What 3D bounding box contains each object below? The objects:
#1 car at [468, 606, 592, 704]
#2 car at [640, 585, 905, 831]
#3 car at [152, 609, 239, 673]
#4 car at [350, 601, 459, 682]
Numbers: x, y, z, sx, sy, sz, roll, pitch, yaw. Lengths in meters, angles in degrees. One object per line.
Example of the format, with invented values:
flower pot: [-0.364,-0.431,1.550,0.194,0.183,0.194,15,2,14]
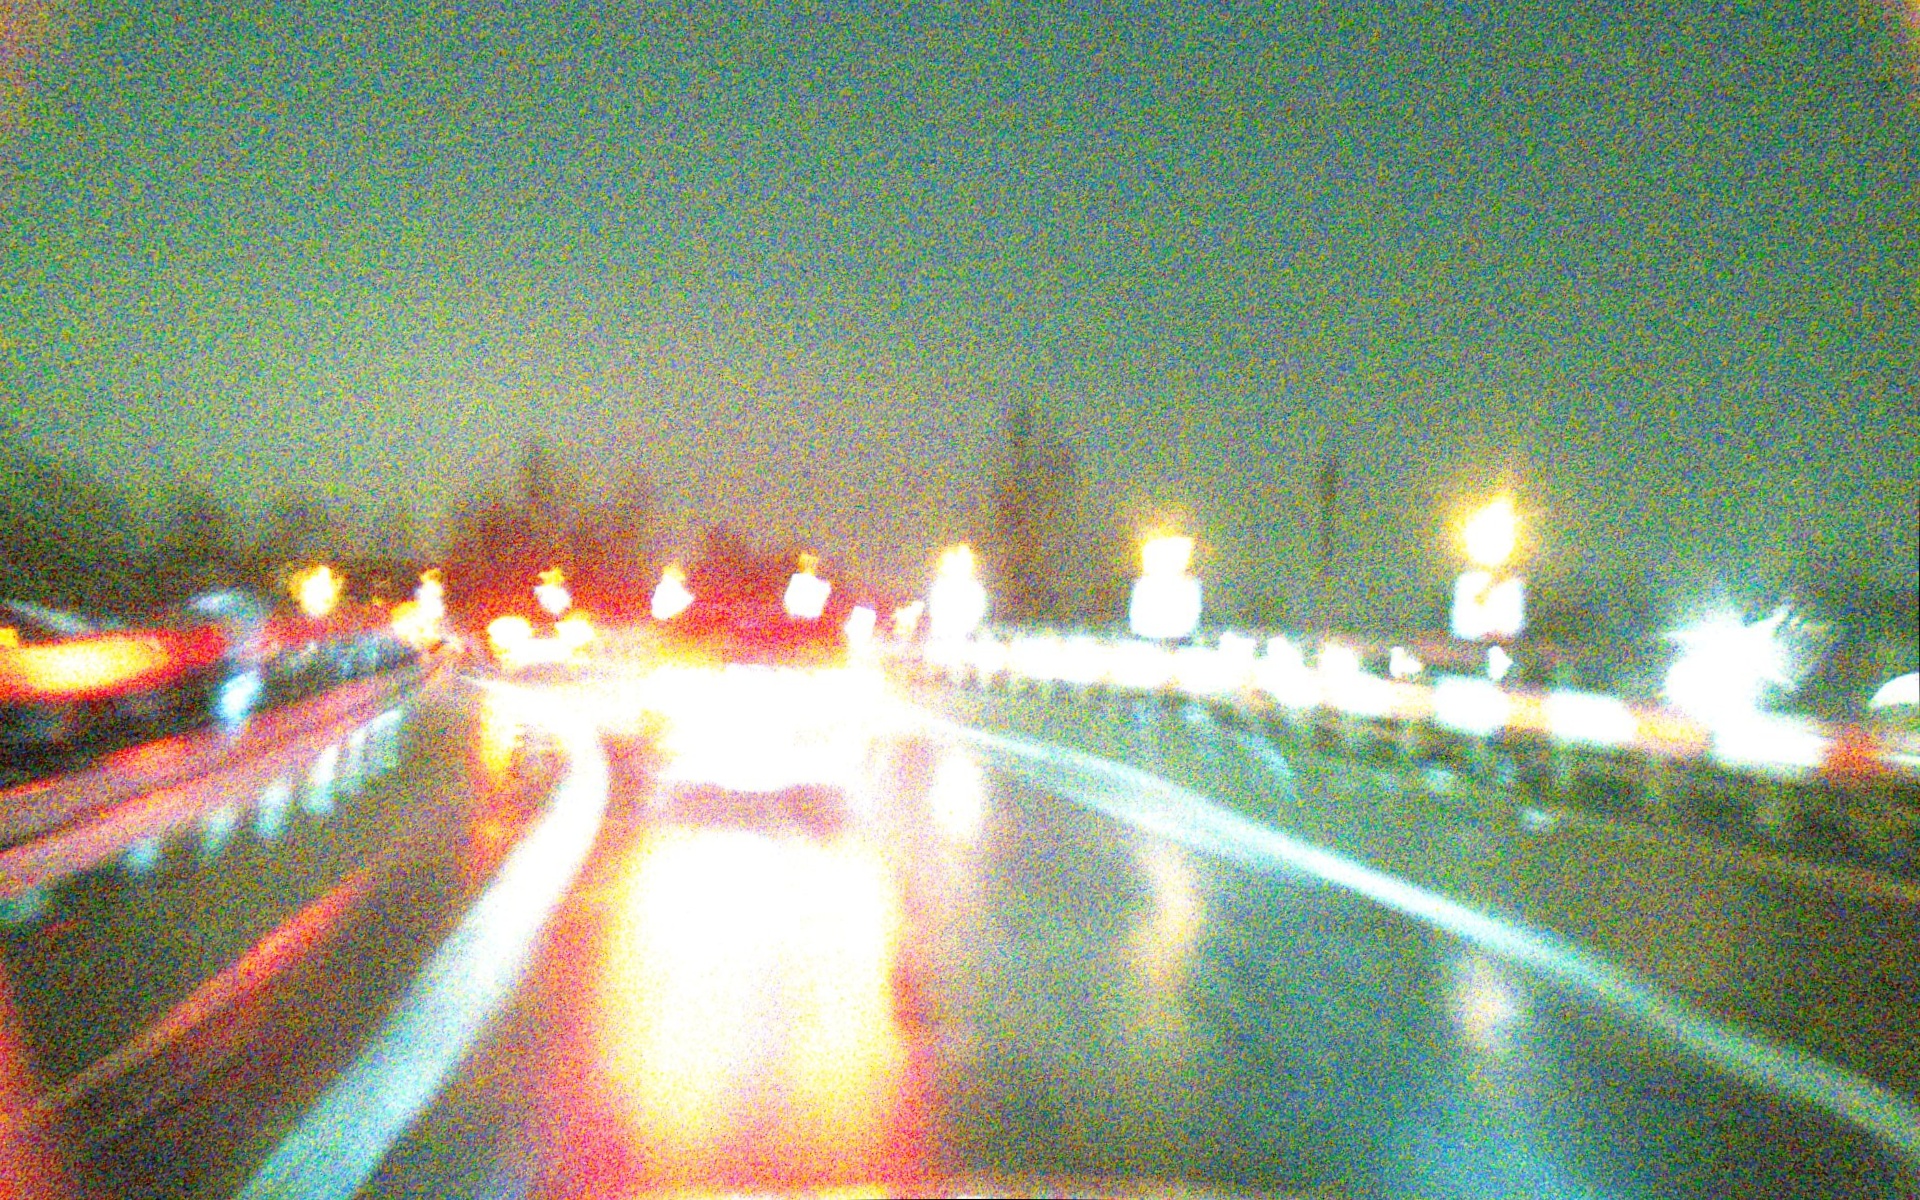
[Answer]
car: [-8.286,1.024,31.650,1.868,1.751,4.020,2,-1,-21]
car: [-1.642,0.759,13.467,1.827,1.676,4.058,0,-1,-10]
car: [-25.658,1.342,55.453,1.880,2.033,3.994,1,-1,-36]
car: [-15.084,1.125,44.782,1.877,2.076,4.000,2,-2,-32]
